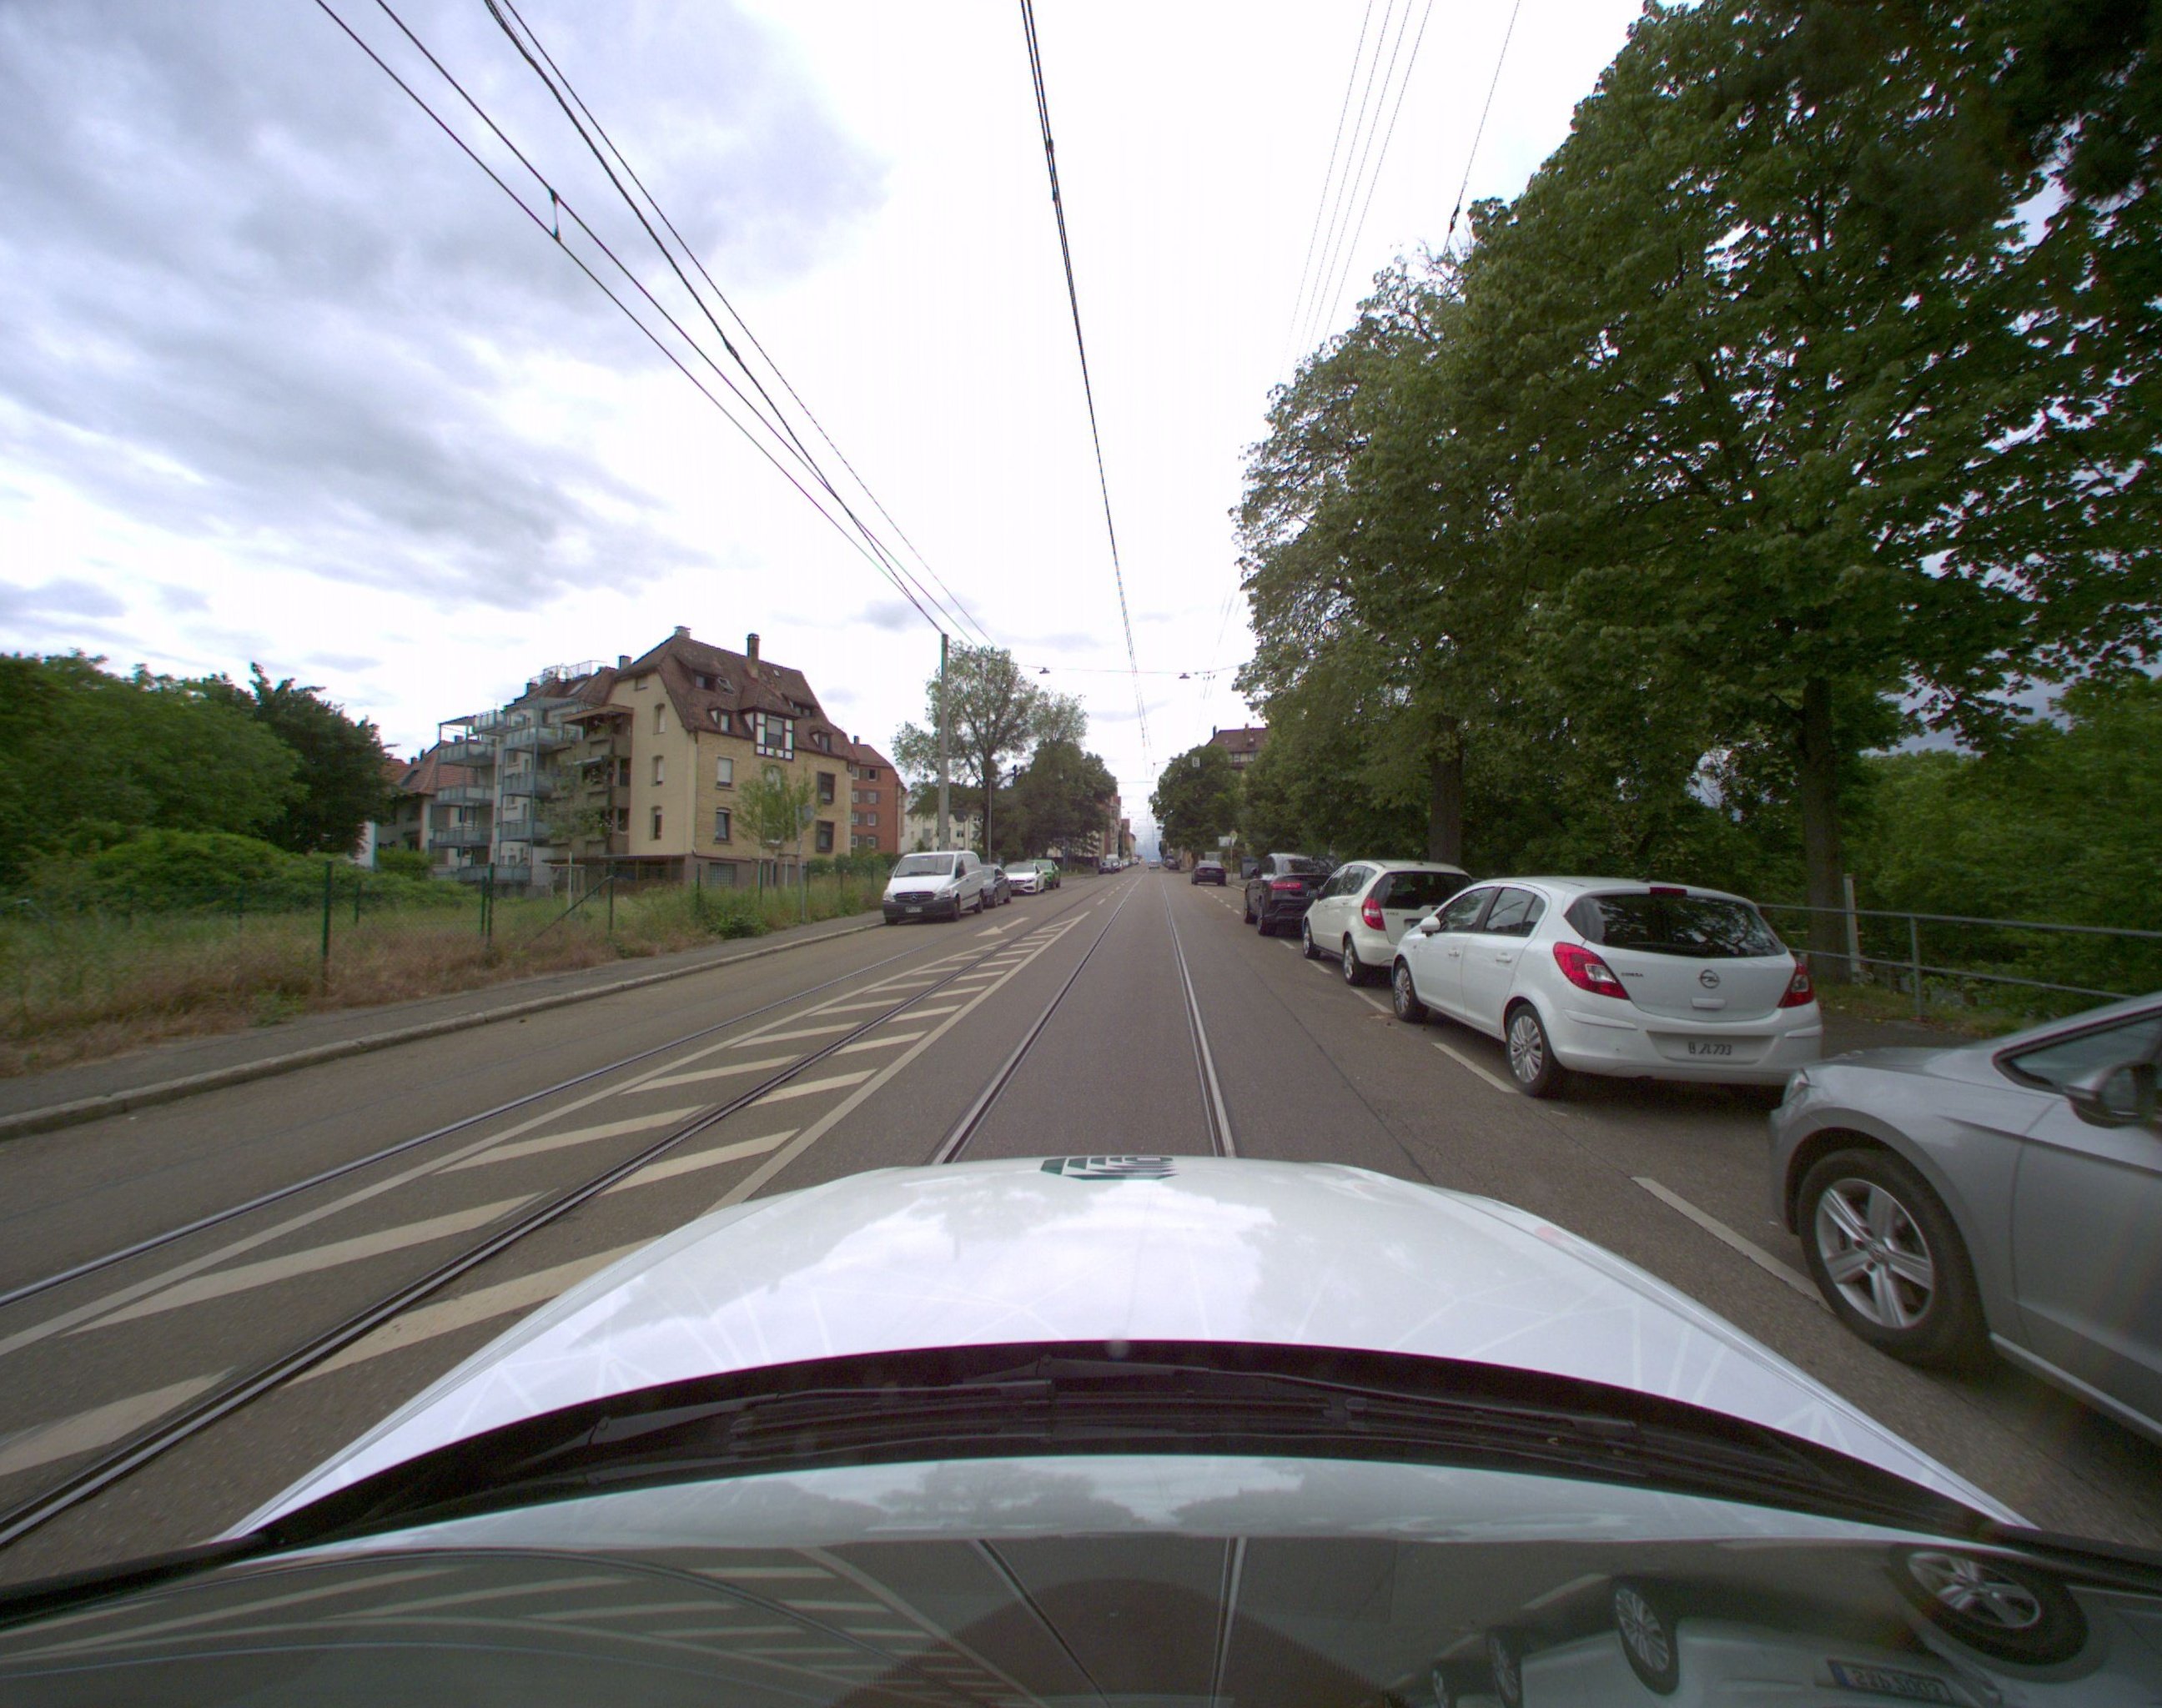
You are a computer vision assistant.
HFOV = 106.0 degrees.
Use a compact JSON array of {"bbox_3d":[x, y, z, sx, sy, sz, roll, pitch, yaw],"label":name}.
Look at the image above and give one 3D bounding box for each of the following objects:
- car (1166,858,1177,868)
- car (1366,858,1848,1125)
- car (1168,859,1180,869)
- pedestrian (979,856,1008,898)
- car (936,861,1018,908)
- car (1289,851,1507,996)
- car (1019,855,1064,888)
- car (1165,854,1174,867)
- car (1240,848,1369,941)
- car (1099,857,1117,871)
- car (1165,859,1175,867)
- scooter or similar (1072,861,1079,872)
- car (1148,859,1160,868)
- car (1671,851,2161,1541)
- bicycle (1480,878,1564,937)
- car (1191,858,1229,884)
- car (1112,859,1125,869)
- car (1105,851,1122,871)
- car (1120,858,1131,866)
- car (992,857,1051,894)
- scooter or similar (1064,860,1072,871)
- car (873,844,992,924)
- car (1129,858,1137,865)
[{"bbox_3d":[16.876,1.698,151.415,1.984,1.717,4.006,-1,-1,6],"label":"car"},{"bbox_3d":[3.861,0.830,6.918,1.622,1.516,4.068,2,0,3],"label":"car"},{"bbox_3d":[14.968,1.617,130.854,1.983,1.530,4.319,0,-1,6],"label":"car"},{"bbox_3d":[-3.483,0.919,32.443,0.810,1.629,0.907,1,-2,-34],"label":"pedestrian"},{"bbox_3d":[-3.515,0.992,28.443,1.887,1.433,4.517,-2,0,5],"label":"car"},{"bbox_3d":[4.317,0.833,11.795,1.719,1.631,4.092,3,0,4],"label":"car"},{"bbox_3d":[-2.009,0.881,42.201,1.715,1.580,4.187,-1,-1,5],"label":"car"},{"bbox_3d":[18.418,1.368,169.572,1.984,2.574,4.711,-1,-1,6],"label":"car"},{"bbox_3d":[4.662,0.767,17.743,1.868,1.677,5.070,2,0,6],"label":"car"},{"bbox_3d":[3.450,1.290,102.773,1.983,1.808,4.007,0,-1,6],"label":"car"},{"bbox_3d":[17.897,1.796,164.077,1.984,1.651,4.006,-1,-1,6],"label":"car"},{"bbox_3d":[-0.626,1.528,98.253,0.687,1.339,1.641,0,-1,6],"label":"scooter or similar"},{"bbox_3d":[12.489,1.715,139.601,1.984,1.498,4.317,0,-1,5],"label":"car"},{"bbox_3d":[3.297,0.781,1.383,1.725,1.575,4.370,0,-1,5],"label":"car"},{"bbox_3d":[7.882,0.921,14.649,0.426,0.976,1.792,0,-1,-5],"label":"bicycle"},{"bbox_3d":[7.554,0.976,48.070,1.819,1.430,4.854,2,-1,5],"label":"car"},{"bbox_3d":[5.822,1.613,127.500,1.985,1.600,4.315,0,-1,3],"label":"car"},{"bbox_3d":[4.712,1.072,117.235,2.221,2.764,5.804,0,-1,3],"label":"car"},{"bbox_3d":[8.817,1.617,160.938,1.914,1.601,4.006,0,-1,5],"label":"car"},{"bbox_3d":[-2.581,0.924,36.693,1.876,1.526,4.670,-2,-1,5],"label":"car"},{"bbox_3d":[-1.569,1.401,98.356,0.687,1.339,1.641,0,-1,6],"label":"scooter or similar"},{"bbox_3d":[-3.954,0.787,22.678,2.027,1.881,4.890,-3,-1,4],"label":"car"},{"bbox_3d":[12.819,1.854,200.325,1.984,1.601,4.005,0,-1,5],"label":"car"}]
